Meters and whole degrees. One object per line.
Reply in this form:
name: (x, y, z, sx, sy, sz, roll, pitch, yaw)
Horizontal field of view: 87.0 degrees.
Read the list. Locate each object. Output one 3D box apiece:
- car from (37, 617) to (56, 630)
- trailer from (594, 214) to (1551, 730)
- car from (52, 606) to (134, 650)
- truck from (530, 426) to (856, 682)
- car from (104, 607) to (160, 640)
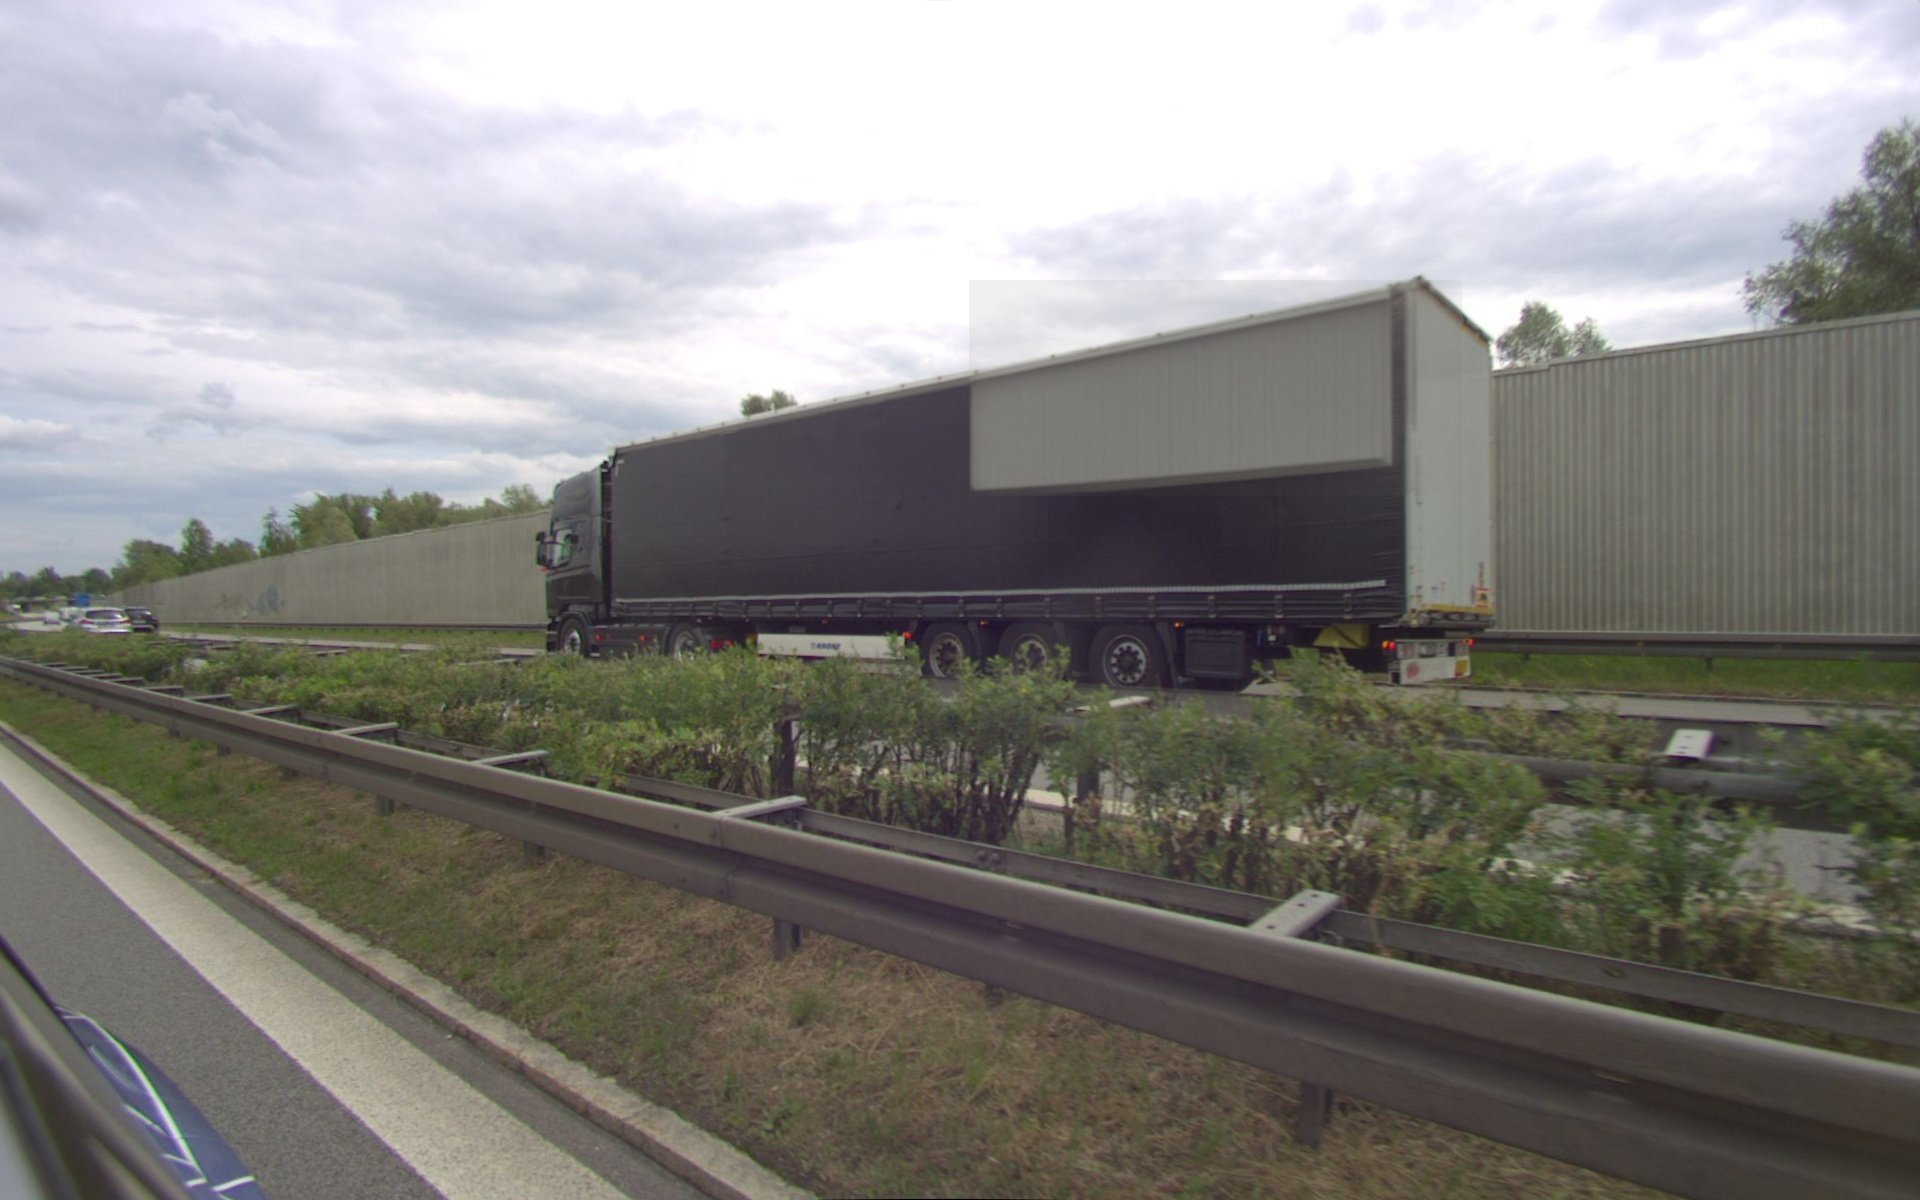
car: (-126.738, 3.253, 140.423, 4.629, 1.758, 1.722, -1, -1, 44)
trailer: (-0.120, -0.971, 14.171, 14.172, 4.272, 2.950, -1, -1, 41)
car: (-33.604, 1.072, 39.179, 4.566, 1.560, 1.910, -1, 0, 43)
truck: (-5.028, -0.666, 18.453, 6.072, 3.888, 2.843, -1, -1, 41)
car: (-44.141, 1.247, 53.934, 4.705, 1.654, 1.697, -1, 0, 43)
